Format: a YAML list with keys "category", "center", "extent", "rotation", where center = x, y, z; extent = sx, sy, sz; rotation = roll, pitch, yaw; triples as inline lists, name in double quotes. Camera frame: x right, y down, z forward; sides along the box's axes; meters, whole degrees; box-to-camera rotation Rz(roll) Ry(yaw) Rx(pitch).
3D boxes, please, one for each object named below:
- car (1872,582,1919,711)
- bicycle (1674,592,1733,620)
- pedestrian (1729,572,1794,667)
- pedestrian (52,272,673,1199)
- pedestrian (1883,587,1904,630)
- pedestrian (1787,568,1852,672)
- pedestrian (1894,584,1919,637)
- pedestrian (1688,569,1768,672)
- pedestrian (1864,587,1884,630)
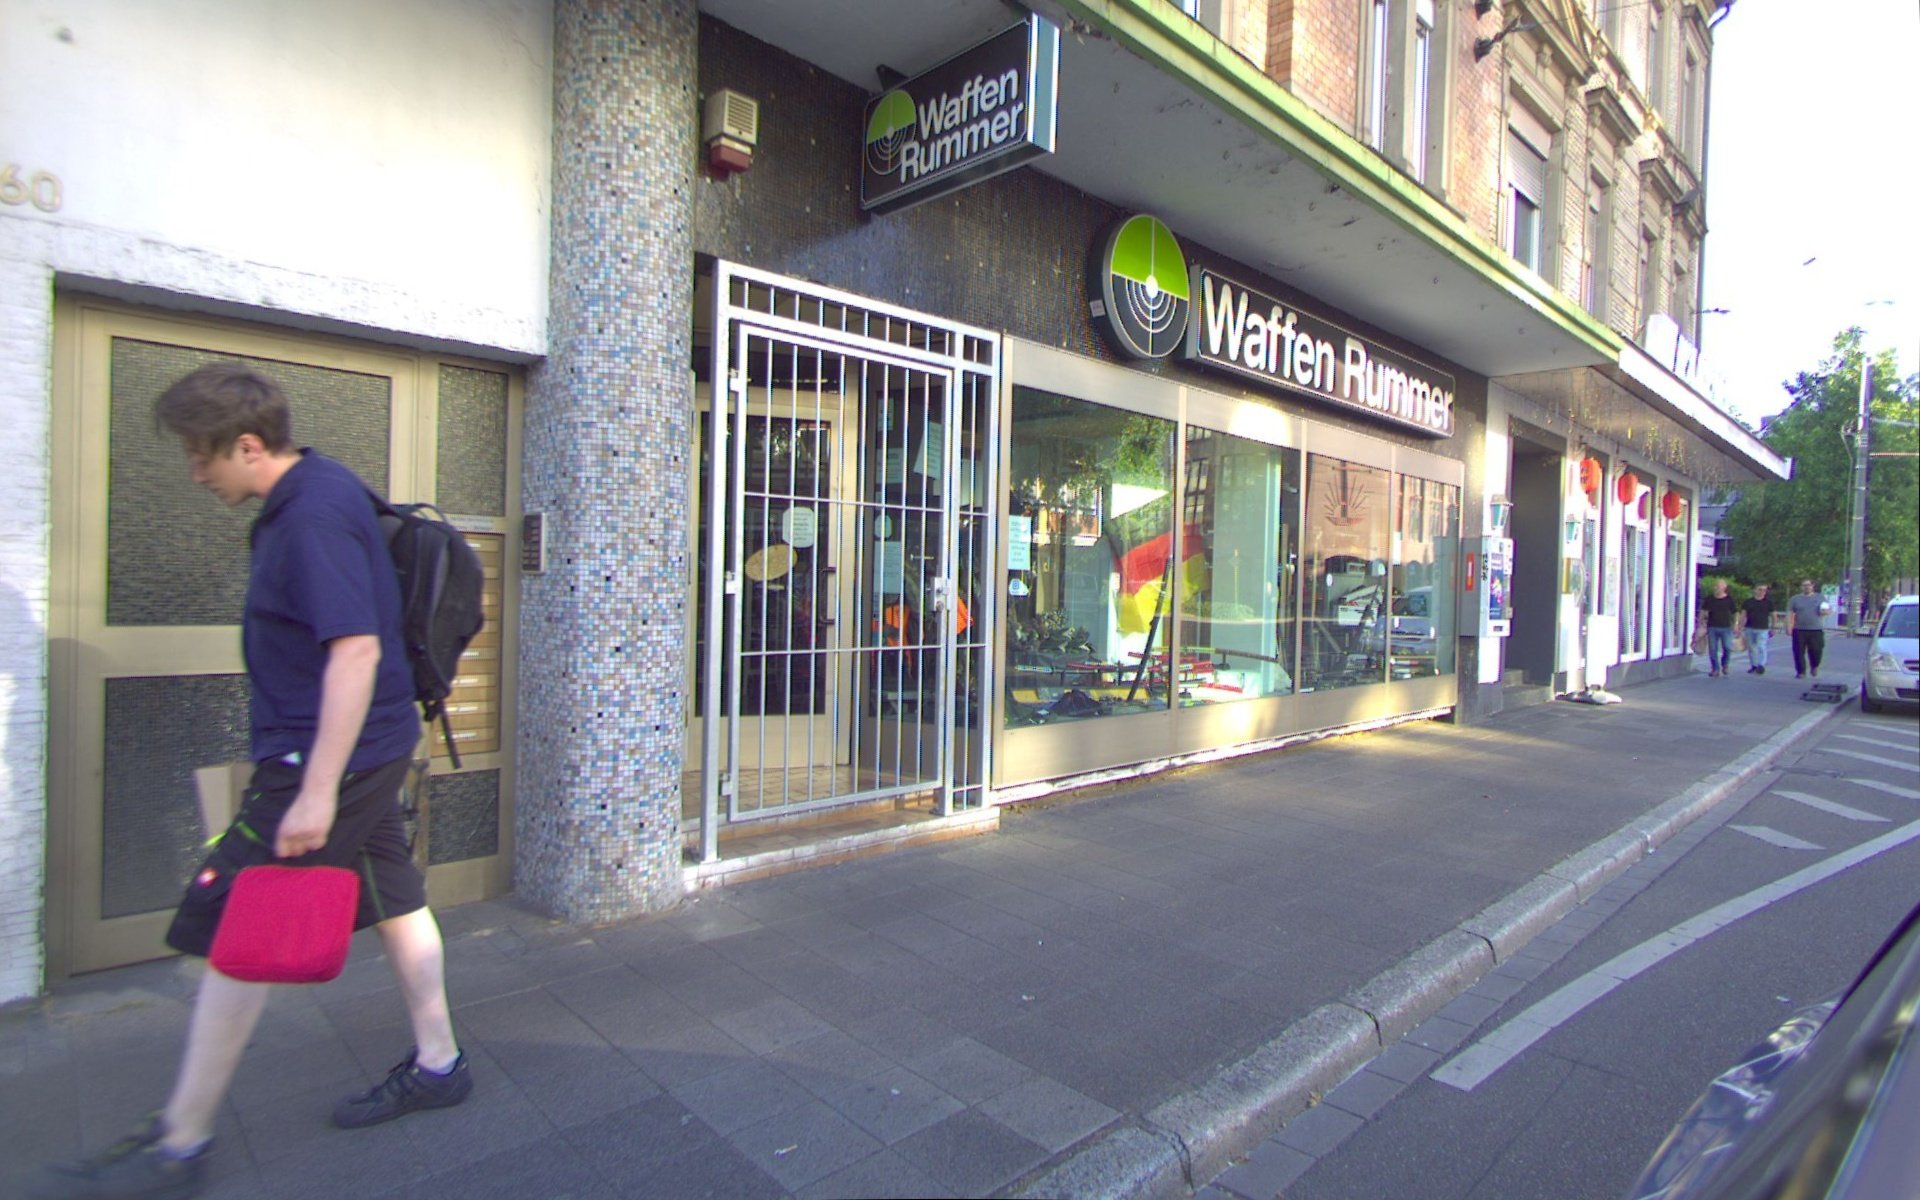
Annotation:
- category: "car"
  center: [13.794, 0.586, 13.943]
  extent: [1.638, 1.635, 3.881]
  rotation: [1, 1, 45]
- category: "bicycle"
  center: [32.510, 0.251, 44.247]
  extent: [2.012, 1.109, 0.628]
  rotation: [4, 2, 40]
- category: "pedestrian"
  center: [15.735, 0.357, 19.866]
  extent: [1.016, 1.778, 0.811]
  rotation: [0, 2, -44]
- category: "pedestrian"
  center: [-1.392, 0.353, 2.355]
  extent: [1.037, 1.814, 0.947]
  rotation: [0, 2, -44]
- category: "pedestrian"
  center: [38.461, 0.352, 41.708]
  extent: [0.430, 1.734, 0.493]
  rotation: [0, 3, -44]
- category: "pedestrian"
  center: [16.510, 0.366, 19.438]
  extent: [1.016, 1.922, 0.794]
  rotation: [0, 2, -44]
- category: "pedestrian"
  center: [32.295, 0.364, 34.336]
  extent: [0.930, 1.759, 0.788]
  rotation: [0, 1, -44]
- category: "pedestrian"
  center: [13.827, 0.346, 18.226]
  extent: [1.016, 1.734, 0.902]
  rotation: [0, 4, -44]
- category: "pedestrian"
  center: [38.171, 0.344, 42.248]
  extent: [0.430, 1.734, 0.493]
  rotation: [0, 3, -44]
